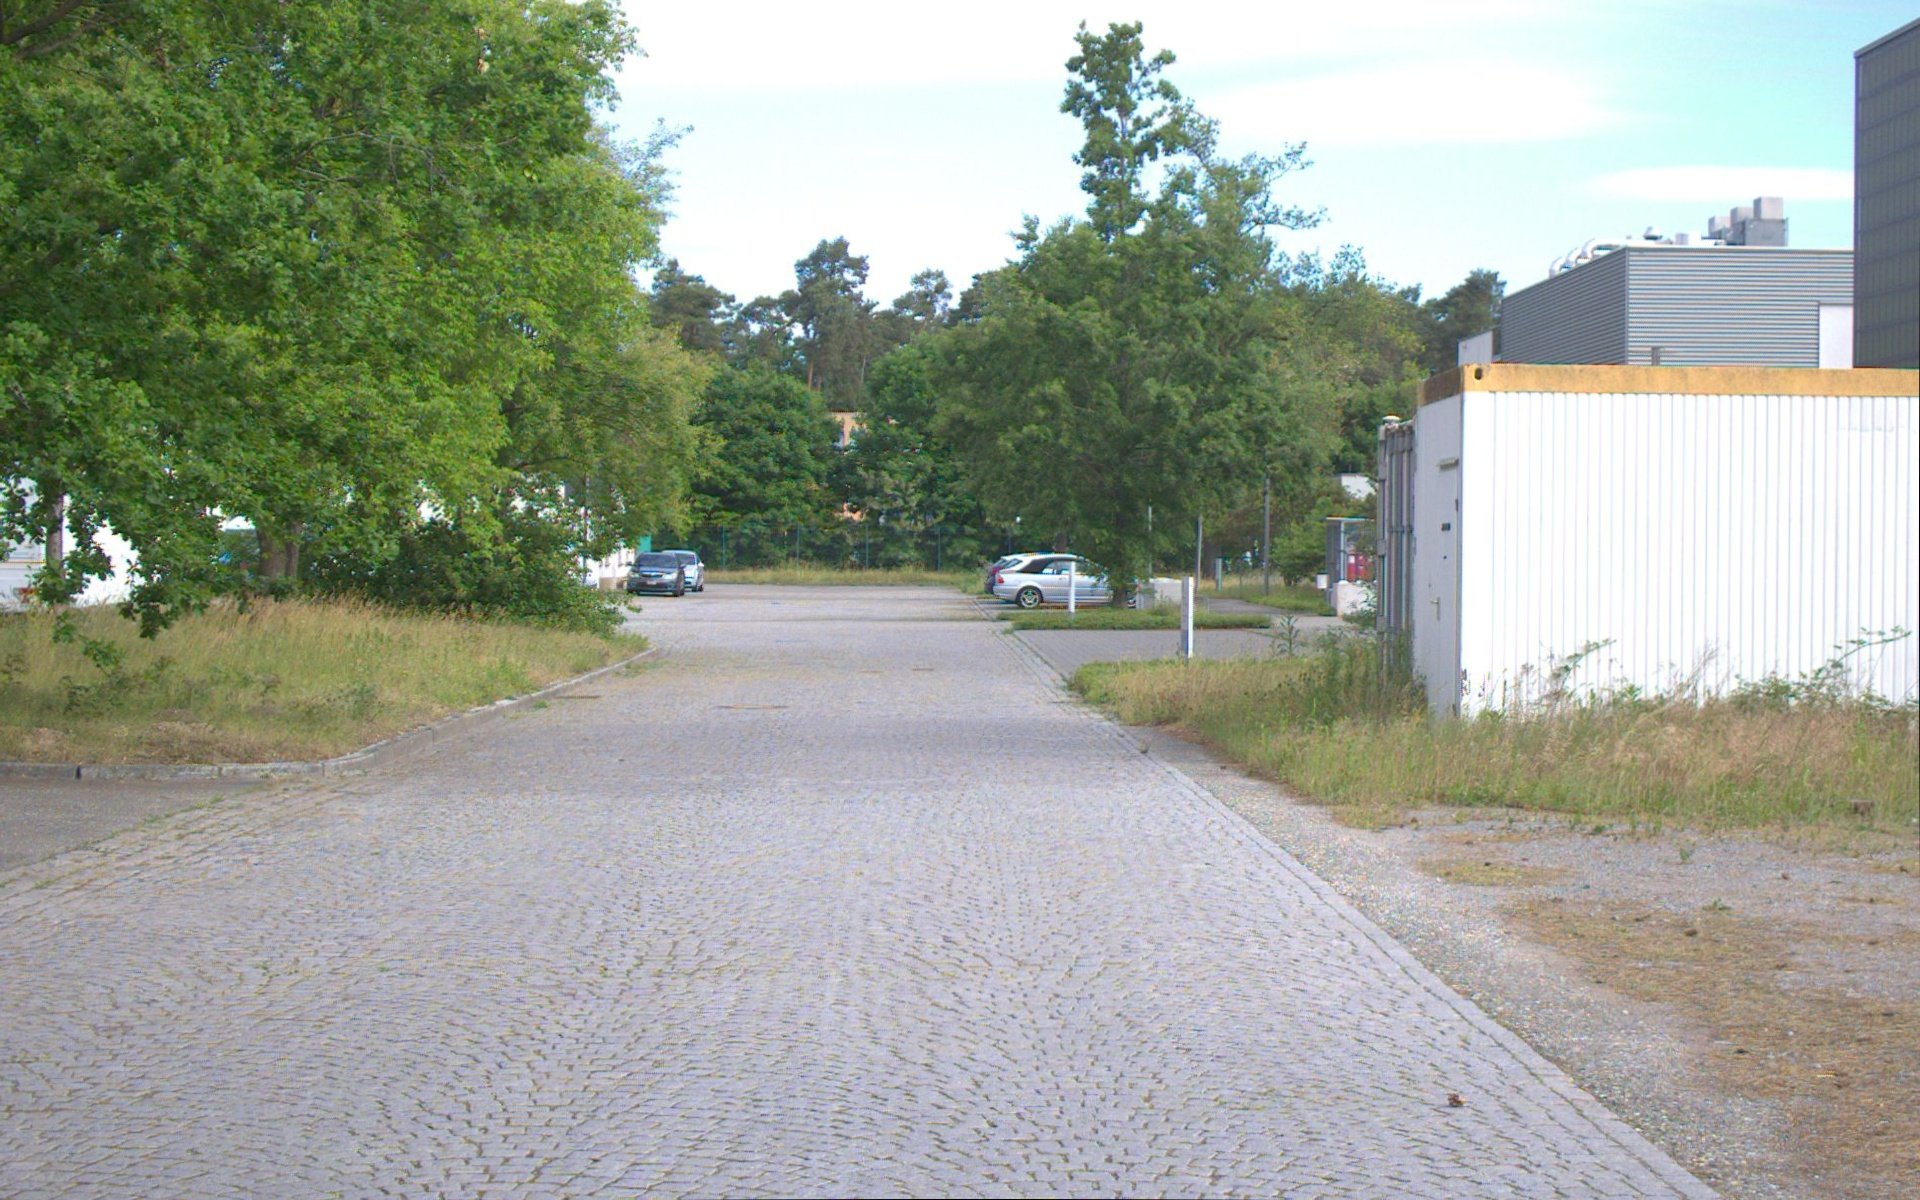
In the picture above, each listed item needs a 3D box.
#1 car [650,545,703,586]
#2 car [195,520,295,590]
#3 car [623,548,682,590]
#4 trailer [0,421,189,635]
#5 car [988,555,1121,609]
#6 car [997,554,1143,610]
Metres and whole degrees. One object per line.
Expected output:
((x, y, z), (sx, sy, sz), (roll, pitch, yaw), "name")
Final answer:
((-10.293, -1.275, 124.937), (1.647, 1.453, 3.998), (1, 1, -1), "car")
((-21.275, -1.342, 102.469), (1.993, 2.007, 4.767), (1, 1, 0), "car")
((-10.224, -1.050, 114.596), (1.647, 1.364, 3.998), (1, 1, -1), "car")
((-16.628, -1.295, 62.654), (2.625, 3.585, 10.177), (1, 1, 1), "trailer")
((2.551, -0.498, 93.147), (3.522, 1.357, 1.622), (-1, 1, 0), "car")
((3.050, -0.504, 95.846), (3.984, 1.443, 1.653), (-1, 1, 0), "car")
